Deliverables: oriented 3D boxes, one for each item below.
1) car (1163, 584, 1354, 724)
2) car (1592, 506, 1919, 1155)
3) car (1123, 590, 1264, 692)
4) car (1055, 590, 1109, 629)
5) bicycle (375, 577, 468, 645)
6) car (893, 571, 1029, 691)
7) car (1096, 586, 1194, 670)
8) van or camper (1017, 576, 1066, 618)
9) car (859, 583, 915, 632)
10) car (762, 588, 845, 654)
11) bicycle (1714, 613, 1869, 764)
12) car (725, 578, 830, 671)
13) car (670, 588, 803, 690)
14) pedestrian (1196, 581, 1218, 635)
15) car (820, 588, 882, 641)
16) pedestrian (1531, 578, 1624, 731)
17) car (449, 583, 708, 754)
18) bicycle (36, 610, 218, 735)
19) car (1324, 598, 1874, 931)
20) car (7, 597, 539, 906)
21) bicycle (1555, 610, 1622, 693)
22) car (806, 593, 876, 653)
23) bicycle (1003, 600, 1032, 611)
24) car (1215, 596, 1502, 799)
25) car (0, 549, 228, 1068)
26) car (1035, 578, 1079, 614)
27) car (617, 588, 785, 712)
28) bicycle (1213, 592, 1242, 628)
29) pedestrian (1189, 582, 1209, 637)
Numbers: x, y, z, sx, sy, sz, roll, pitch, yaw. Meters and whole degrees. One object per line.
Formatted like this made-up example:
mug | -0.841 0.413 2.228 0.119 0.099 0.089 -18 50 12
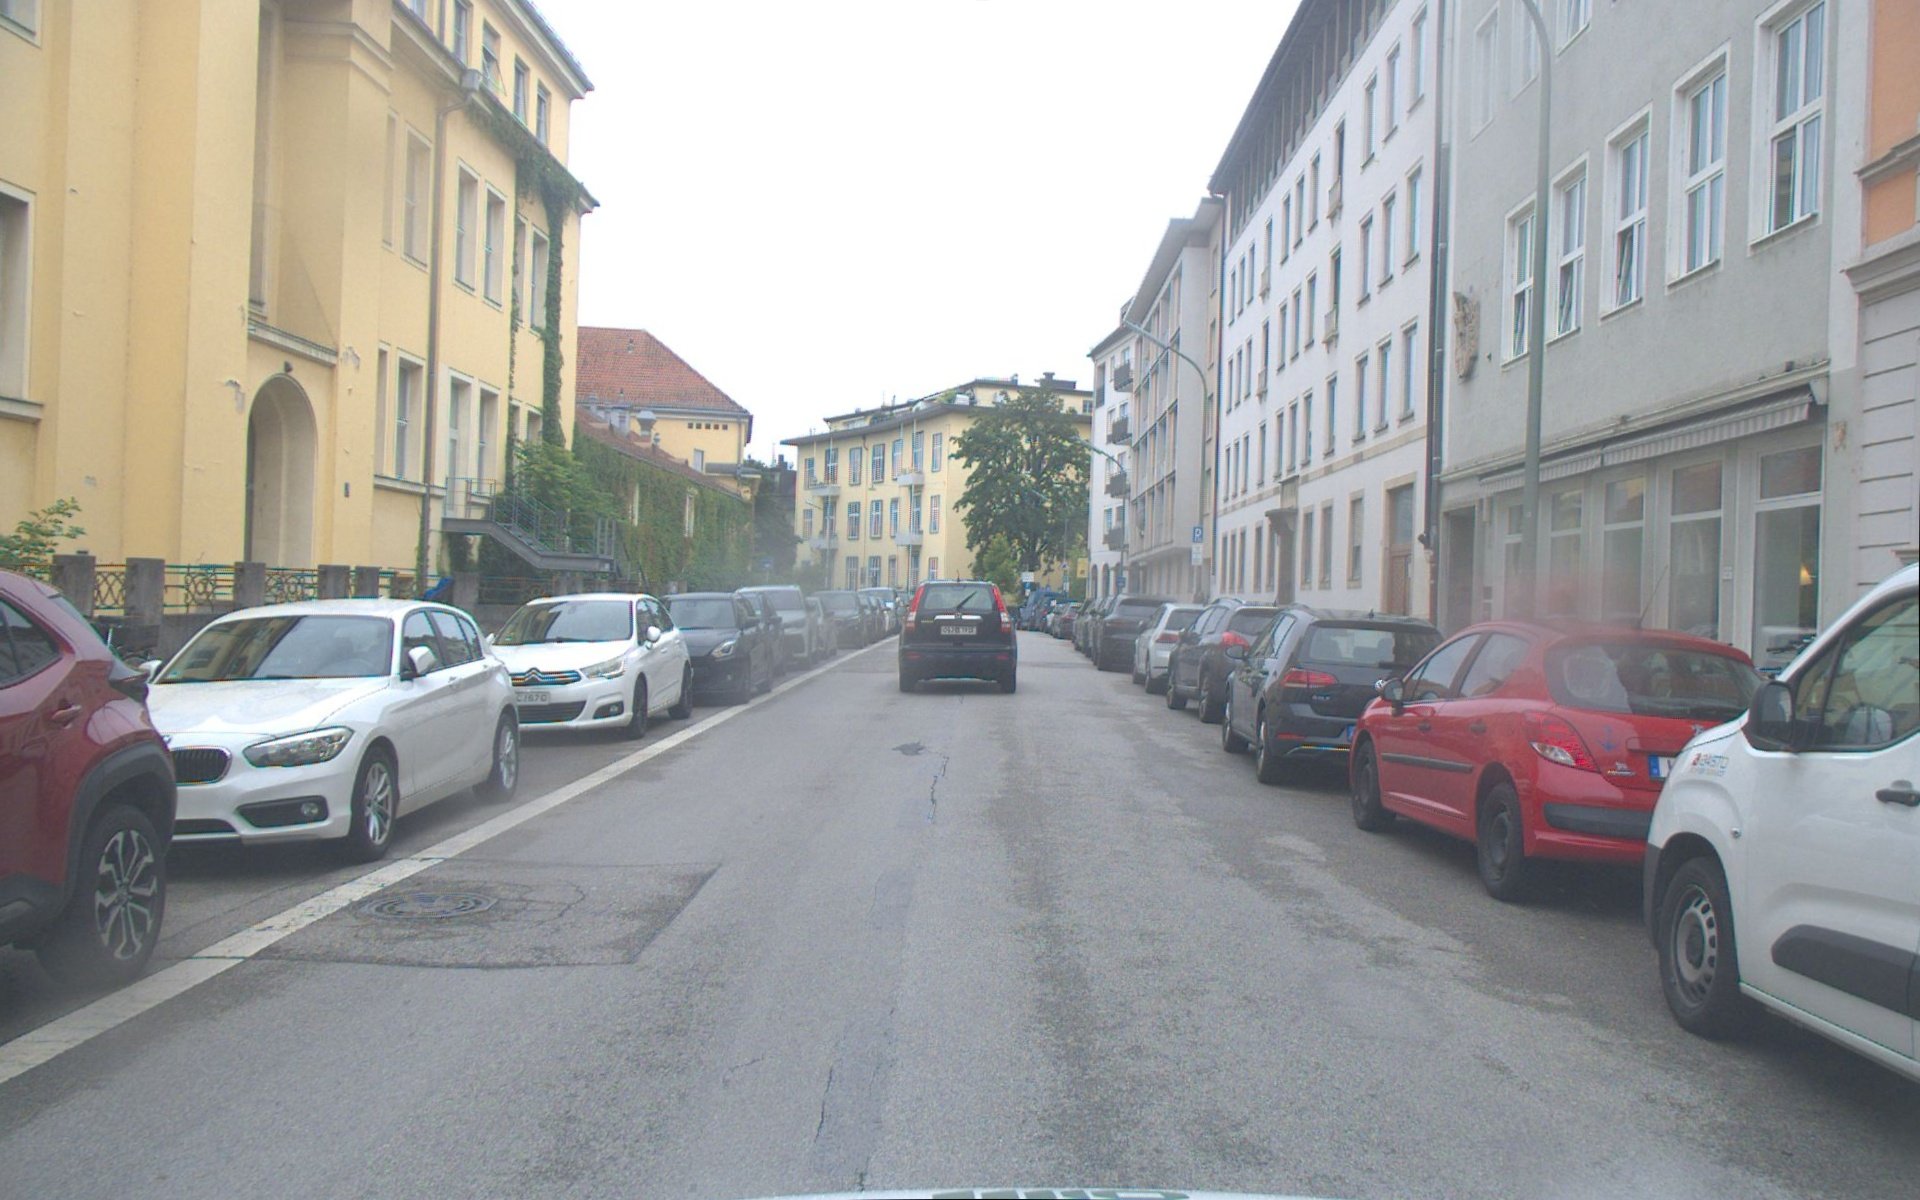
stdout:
car | 3.848 0.632 21.980 1.658 1.611 4.082 3 0 -1
car | 3.623 0.690 4.655 1.803 1.816 4.896 3 1 1
car | 3.863 0.631 27.989 1.658 1.489 4.082 3 0 -1
car | 4.826 0.364 65.896 1.759 1.445 4.482 -1 0 -1
bicycle | -10.345 0.203 31.780 1.525 1.209 0.578 3 0 -1
car | 0.098 0.428 26.183 1.954 1.723 4.382 -1 1 2
car | 3.848 0.534 34.971 1.741 1.612 4.331 1 1 3
van or camper | 4.570 -0.173 93.270 2.020 2.270 5.433 -1 1 -5
car | -2.951 0.281 67.905 1.952 1.908 4.759 0 1 2
car | -3.631 0.462 38.967 1.646 1.450 3.894 -1 1 -1
bicycle | 7.321 0.733 14.516 0.599 1.204 2.080 1 1 45
car | -3.585 0.432 33.123 1.646 1.662 4.356 -2 1 -1
car | -3.740 0.608 28.312 1.645 1.531 3.974 -2 1 1
pedestrian | 7.735 0.246 51.809 0.584 1.683 0.630 -1 0 1
car | -3.408 0.413 52.333 1.745 1.565 4.148 1 1 -1
pedestrian | 6.830 0.585 18.314 0.719 1.654 0.828 -1 0 1
car | -3.952 0.634 17.825 1.687 1.554 4.088 -2 1 1
bicycle | -8.028 0.665 16.019 0.573 1.096 1.718 3 1 13
car | 3.596 0.801 10.220 1.566 1.476 4.301 4 0 -1
car | -3.909 0.745 10.198 1.641 1.422 3.996 -2 1 -1
bicycle | 8.175 0.650 21.549 0.324 1.021 1.522 0 1 1
car | -3.303 0.607 46.587 1.745 1.565 4.194 1 1 -1
bicycle | 4.506 0.431 129.837 2.163 0.792 0.610 1 0 14
car | 3.426 0.756 14.970 1.657 1.476 4.084 3 0 2
car | -3.784 0.677 4.708 1.641 1.594 3.996 -2 1 -1
car | 5.122 -0.253 87.609 1.924 1.848 4.934 0 1 -1
car | -3.539 0.630 23.280 1.645 1.521 3.986 -2 1 1
bicycle | 8.799 0.319 54.511 0.645 1.183 2.028 0 0 1
pedestrian | 7.141 0.282 49.436 0.520 1.612 0.560 -1 0 1
